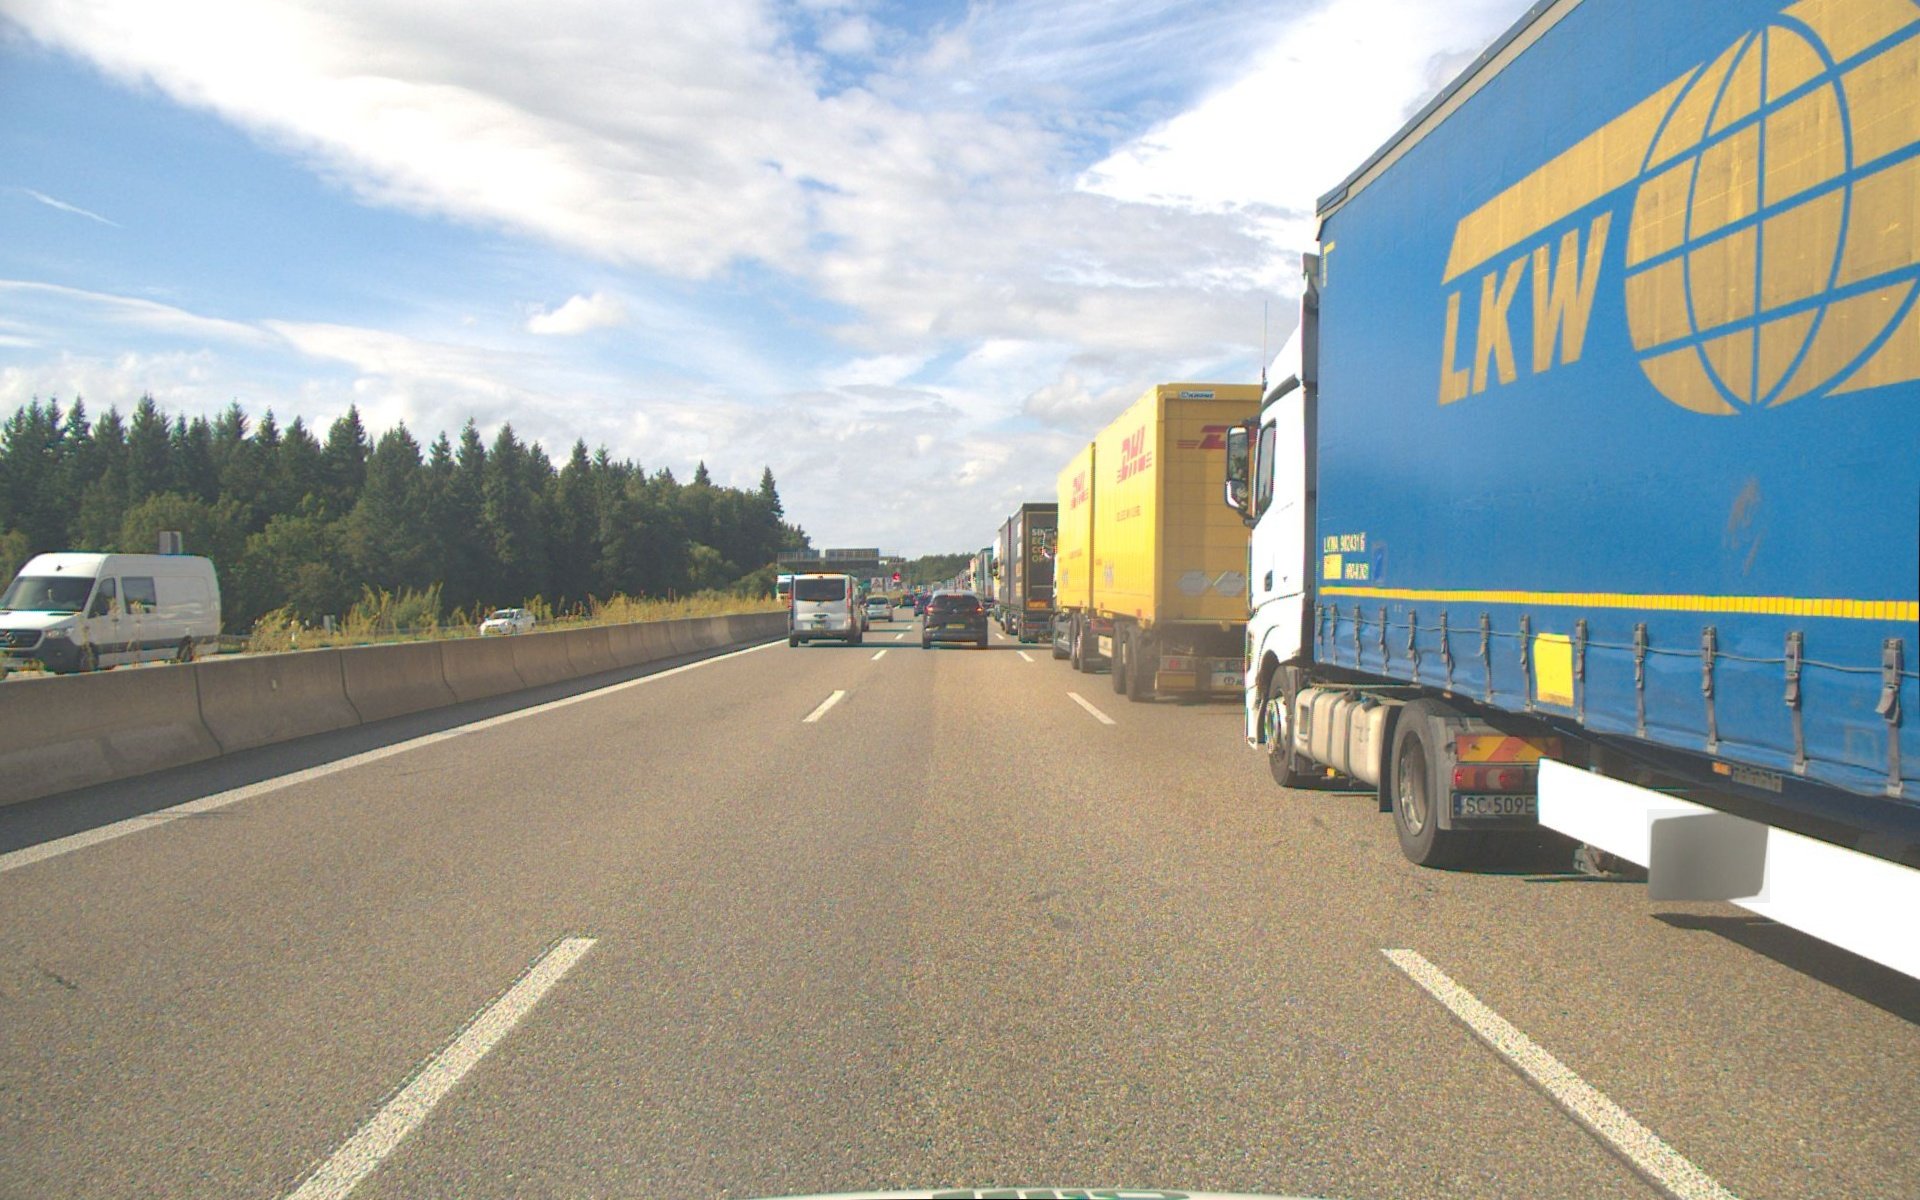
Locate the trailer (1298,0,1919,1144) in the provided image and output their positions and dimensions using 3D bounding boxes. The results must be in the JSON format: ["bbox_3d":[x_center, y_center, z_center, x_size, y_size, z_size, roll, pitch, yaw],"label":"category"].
[{"bbox_3d":[3.857,-0.623,4.783,2.588,4.169,13.977,1,0,-1],"label":"trailer"}]

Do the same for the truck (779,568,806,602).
[{"bbox_3d":[-20.562,-1.768,202.874,2.762,4.045,5.832,-1,0,-1],"label":"truck"}]

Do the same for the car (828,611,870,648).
[{"bbox_3d":[-4.425,1.165,66.391,1.469,1.420,3.475,1,0,-1],"label":"car"}]

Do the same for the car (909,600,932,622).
[{"bbox_3d":[-2.635,0.754,110.820,1.549,1.420,3.207,1,0,-1],"label":"car"}]

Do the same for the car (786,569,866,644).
[{"bbox_3d":[-3.801,0.185,47.559,1.893,2.013,5.098,1,0,-1],"label":"car"}]

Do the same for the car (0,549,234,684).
[{"bbox_3d":[-18.439,0.334,36.124,1.992,2.623,7.320,1,0,-1],"label":"car"}]

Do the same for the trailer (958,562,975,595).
[{"bbox_3d":[0.888,-2.918,225.284,2.106,4.333,8.440,-2,0,0],"label":"trailer"}]

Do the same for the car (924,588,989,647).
[{"bbox_3d":[-0.116,0.457,45.182,1.662,1.509,4.159,1,0,-1],"label":"car"}]

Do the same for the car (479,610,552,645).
[{"bbox_3d":[-24.428,1.465,91.126,1.951,1.831,4.981,1,0,9],"label":"car"}]

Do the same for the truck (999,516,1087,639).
[{"bbox_3d":[2.928,-0.750,60.781,2.684,4.109,10.202,1,0,0],"label":"truck"}]

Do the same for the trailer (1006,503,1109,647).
[{"bbox_3d":[2.890,-0.738,51.316,2.660,4.030,8.711,1,0,0],"label":"trailer"}]

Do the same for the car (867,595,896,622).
[{"bbox_3d":[-4.381,0.479,92.405,1.469,1.420,3.475,1,0,-1],"label":"car"}]

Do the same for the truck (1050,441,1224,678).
[{"bbox_3d":[3.375,-0.733,33.955,2.363,4.139,9.663,1,0,-1],"label":"truck"}]

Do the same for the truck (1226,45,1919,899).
[{"bbox_3d":[3.739,-0.619,11.406,2.594,4.161,6.490,1,0,-1],"label":"truck"}]

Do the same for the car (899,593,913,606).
[{"bbox_3d":[-5.560,-0.025,170.508,1.405,1.333,3.532,1,0,-1],"label":"car"}]

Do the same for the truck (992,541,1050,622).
[{"bbox_3d":[3.109,-0.921,85.843,2.744,4.008,5.825,-1,0,0],"label":"truck"}]

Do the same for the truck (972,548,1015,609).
[{"bbox_3d":[2.225,-1.389,112.398,2.593,3.936,6.995,-2,0,0],"label":"truck"}]

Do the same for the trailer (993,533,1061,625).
[{"bbox_3d":[3.079,-0.913,79.161,2.734,4.008,13.069,-1,0,0],"label":"trailer"}]

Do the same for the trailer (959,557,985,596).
[{"bbox_3d":[1.427,-2.681,195.860,2.745,4.318,11.056,-2,0,0],"label":"trailer"}]

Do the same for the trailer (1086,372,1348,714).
[{"bbox_3d":[3.482,-0.714,24.670,2.363,4.139,8.925,1,0,-1],"label":"trailer"}]

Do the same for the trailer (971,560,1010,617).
[{"bbox_3d":[2.342,-0.902,131.293,2.648,4.153,12.943,-2,0,0],"label":"trailer"}]

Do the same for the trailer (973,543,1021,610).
[{"bbox_3d":[2.262,-1.408,105.450,2.607,3.936,13.393,-2,0,0],"label":"trailer"}]
